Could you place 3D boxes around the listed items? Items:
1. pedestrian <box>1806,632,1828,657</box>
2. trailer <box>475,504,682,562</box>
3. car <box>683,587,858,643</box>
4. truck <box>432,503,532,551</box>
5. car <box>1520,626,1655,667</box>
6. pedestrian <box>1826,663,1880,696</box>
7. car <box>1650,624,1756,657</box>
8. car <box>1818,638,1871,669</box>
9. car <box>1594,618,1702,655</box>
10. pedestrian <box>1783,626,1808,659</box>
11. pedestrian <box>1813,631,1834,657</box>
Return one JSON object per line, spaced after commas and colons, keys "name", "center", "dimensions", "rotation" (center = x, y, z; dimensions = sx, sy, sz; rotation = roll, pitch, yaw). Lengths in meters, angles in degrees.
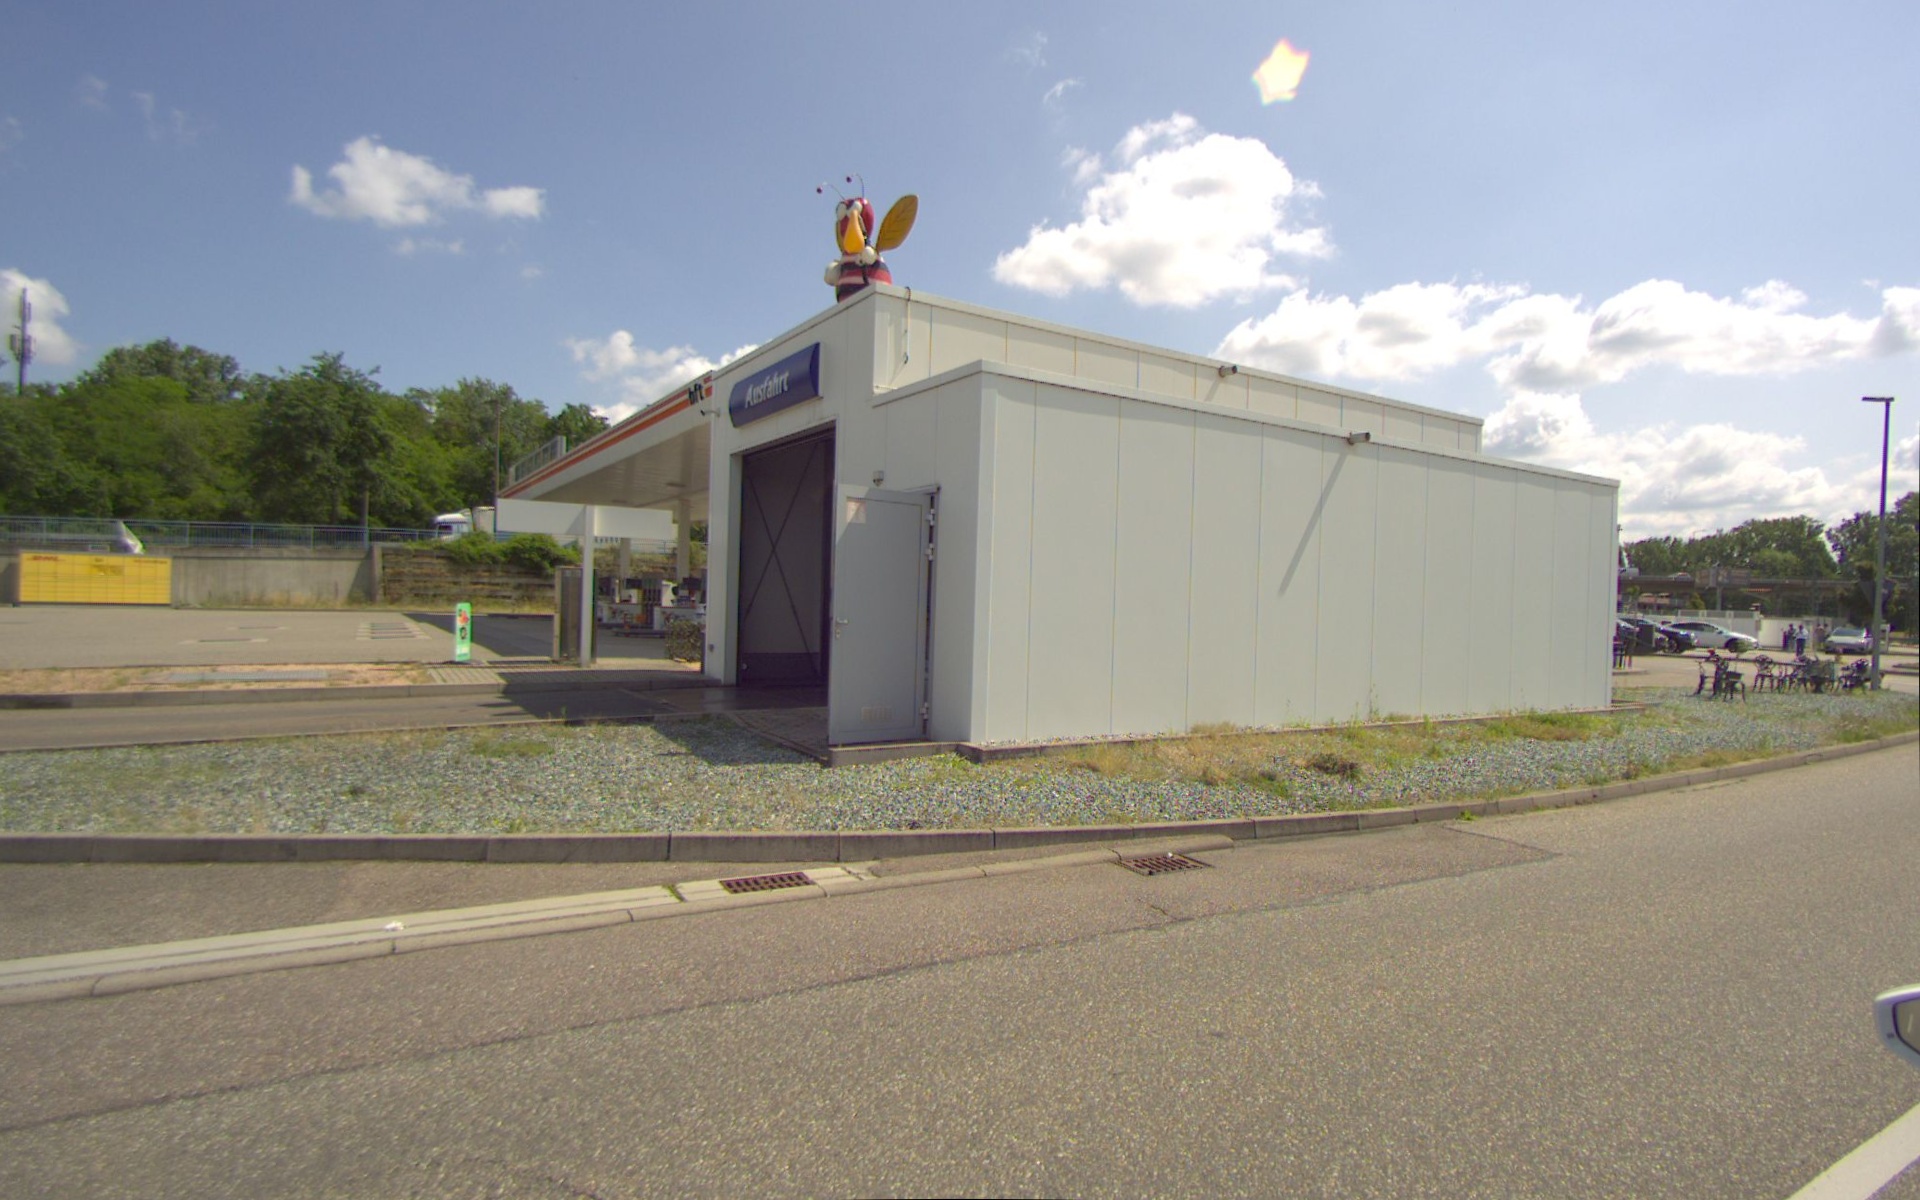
{"name": "pedestrian", "center": [55.562, 2.855, 65.127], "dimensions": [0.699, 1.586, 0.759], "rotation": [2, 0, 3]}
{"name": "trailer", "center": [-26.466, -4.599, 70.437], "dimensions": [13.350, 3.004, 2.132], "rotation": [2, -1, -33]}
{"name": "car", "center": [-5.377, 0.444, 28.697], "dimensions": [4.532, 1.450, 1.883], "rotation": [2, -1, -30]}
{"name": "truck", "center": [-31.840, -4.790, 67.020], "dimensions": [5.782, 2.661, 2.132], "rotation": [2, -1, -33]}
{"name": "car", "center": [27.827, 2.030, 44.651], "dimensions": [2.223, 1.475, 4.697], "rotation": [2, 1, -44]}
{"name": "pedestrian", "center": [23.405, 2.080, 26.319], "dimensions": [0.810, 0.770, 0.857], "rotation": [3, 0, -34]}
{"name": "car", "center": [41.602, 2.242, 56.316], "dimensions": [1.987, 1.544, 4.505], "rotation": [2, 0, -44]}
{"name": "car", "center": [53.792, 3.223, 61.035], "dimensions": [4.740, 1.538, 1.912], "rotation": [0, 2, -43]}
{"name": "car", "center": [33.131, 1.738, 48.452], "dimensions": [1.986, 1.539, 3.949], "rotation": [2, 0, -43]}
{"name": "pedestrian", "center": [43.528, 2.222, 52.331], "dimensions": [0.853, 1.675, 0.935], "rotation": [2, 0, 45]}
{"name": "pedestrian", "center": [55.338, 2.796, 64.371], "dimensions": [0.708, 1.600, 0.713], "rotation": [2, 0, -5]}
